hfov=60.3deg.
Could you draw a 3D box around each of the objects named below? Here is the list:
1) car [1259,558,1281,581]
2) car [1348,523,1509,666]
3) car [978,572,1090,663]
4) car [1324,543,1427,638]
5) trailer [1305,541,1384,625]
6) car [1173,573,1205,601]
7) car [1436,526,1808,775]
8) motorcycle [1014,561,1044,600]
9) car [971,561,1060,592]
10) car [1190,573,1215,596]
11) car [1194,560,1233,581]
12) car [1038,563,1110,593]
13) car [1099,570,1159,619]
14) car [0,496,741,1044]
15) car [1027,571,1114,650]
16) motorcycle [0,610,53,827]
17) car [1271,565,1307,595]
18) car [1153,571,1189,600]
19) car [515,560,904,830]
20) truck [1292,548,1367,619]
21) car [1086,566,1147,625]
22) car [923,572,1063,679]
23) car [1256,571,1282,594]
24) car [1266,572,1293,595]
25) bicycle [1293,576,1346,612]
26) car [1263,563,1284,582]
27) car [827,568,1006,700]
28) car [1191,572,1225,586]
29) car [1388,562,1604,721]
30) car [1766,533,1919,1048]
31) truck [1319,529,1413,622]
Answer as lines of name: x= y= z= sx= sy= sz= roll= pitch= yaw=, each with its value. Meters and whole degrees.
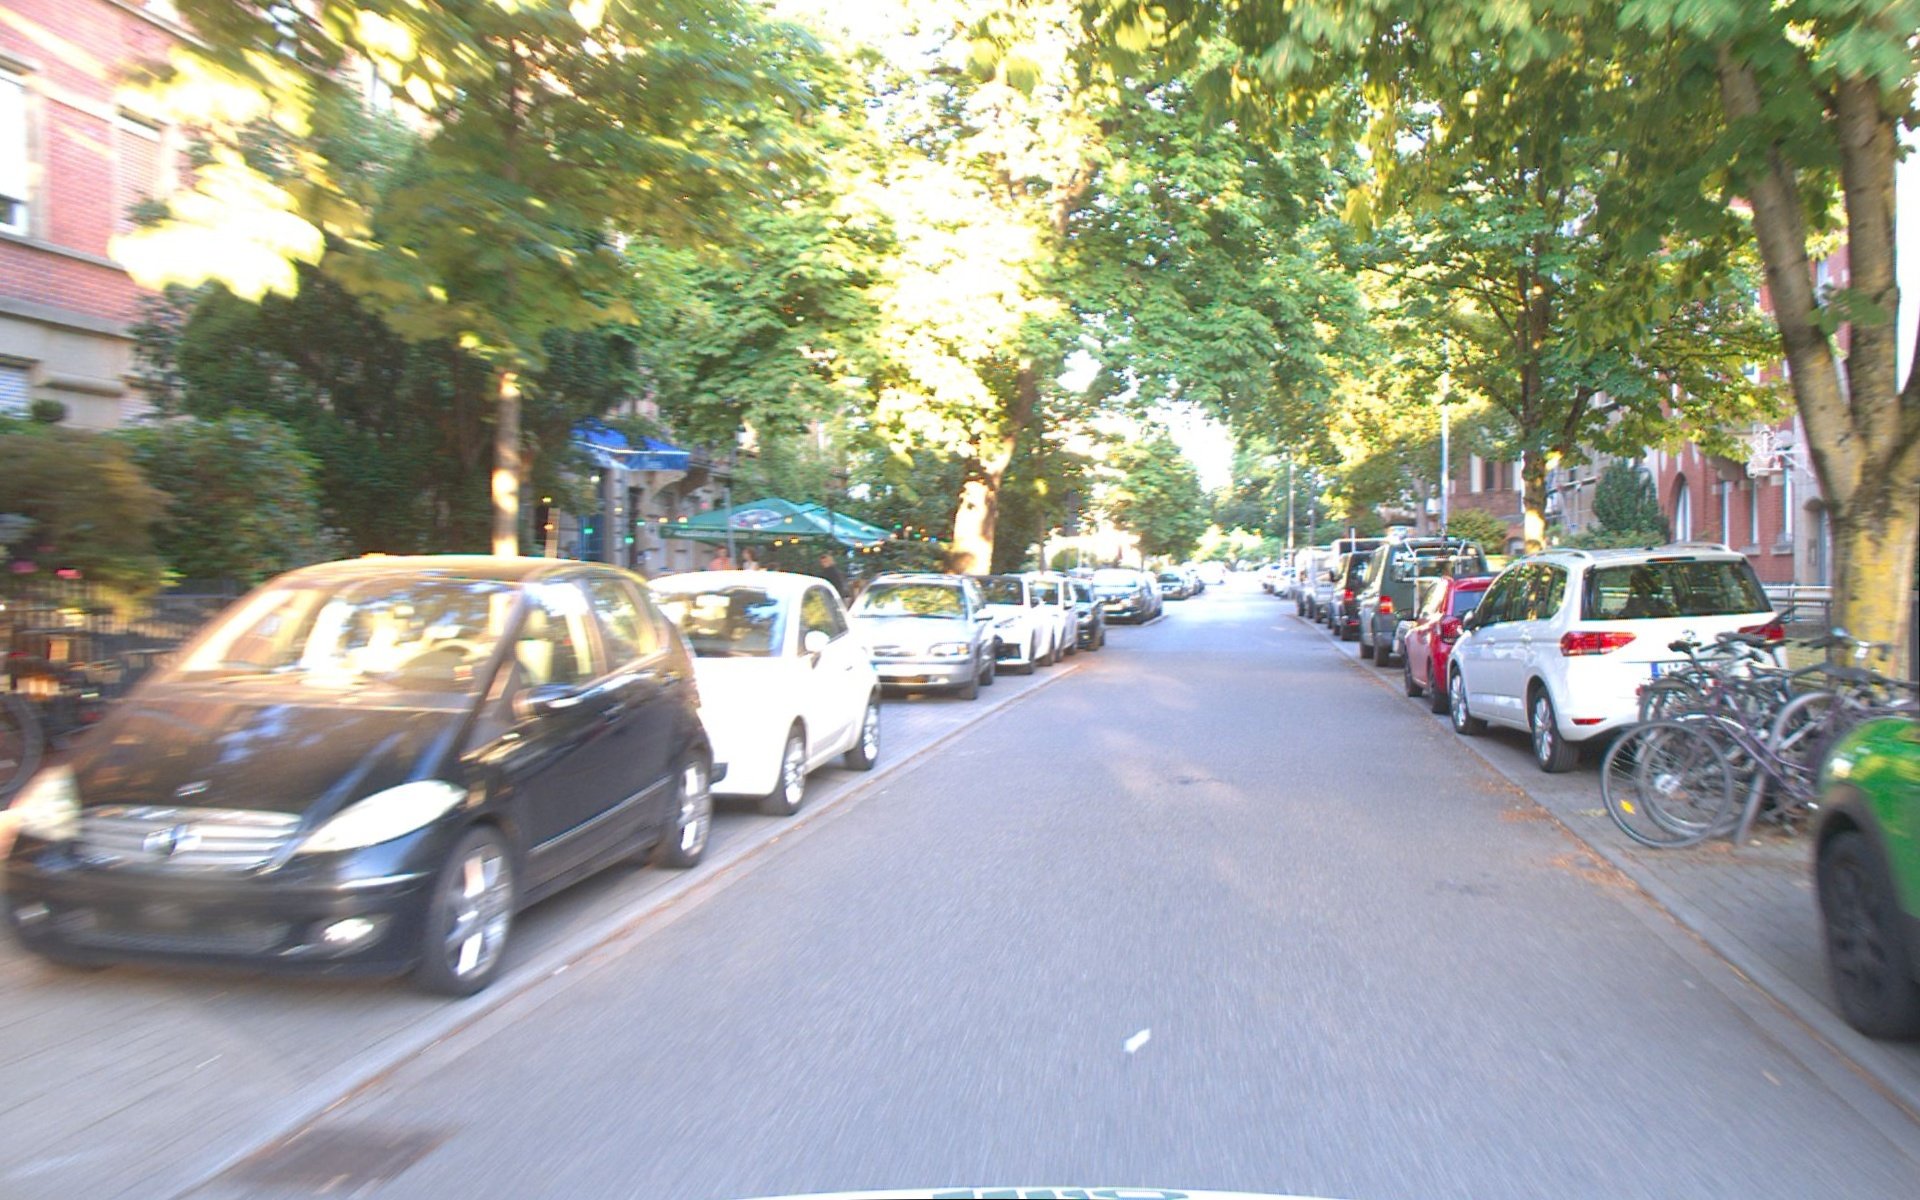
car: x=26.586 y=-2.620 z=141.865 sx=1.644 sy=1.975 sz=3.883 roll=0 pitch=0 yaw=7
car: x=7.732 y=-0.146 z=27.717 sx=1.912 sy=2.094 sz=4.835 roll=-3 pitch=1 yaw=9
car: x=1.433 y=0.269 z=30.788 sx=1.518 sy=1.511 sz=3.697 roll=3 pitch=2 yaw=10
car: x=9.562 y=-0.270 z=38.333 sx=1.800 sy=1.976 sz=4.618 roll=-3 pitch=1 yaw=9
trailer: x=11.547 y=-0.535 z=49.896 sx=1.912 sy=2.335 sz=4.649 roll=-3 pitch=1 yaw=9
car: x=14.528 y=-0.841 z=104.709 sx=1.880 sy=1.747 sz=4.432 roll=0 pitch=1 yaw=10
car: x=5.319 y=0.318 z=13.885 sx=1.629 sy=1.707 sz=4.122 roll=-3 pitch=1 yaw=4
motorcycle: x=2.286 y=-0.666 z=54.449 sx=0.570 sy=1.176 sz=2.895 roll=2 pitch=3 yaw=10
car: x=2.703 y=-1.153 z=80.364 sx=4.007 sy=1.472 sz=1.710 roll=1 pitch=2 yaw=19
car: x=17.314 y=-1.123 z=117.876 sx=1.679 sy=1.593 sz=3.791 roll=0 pitch=1 yaw=10
car: x=28.315 y=-3.334 z=185.016 sx=4.257 sy=2.358 sz=1.747 roll=0 pitch=1 yaw=8
car: x=6.727 y=-1.301 z=97.366 sx=4.006 sy=1.554 sz=1.711 roll=3 pitch=1 yaw=9
car: x=5.599 y=-0.192 z=54.330 sx=1.653 sy=1.528 sz=4.406 roll=1 pitch=0 yaw=10
car: x=-2.318 y=0.491 z=7.312 sx=1.629 sy=1.706 sz=3.850 roll=2 pitch=2 yaw=8
car: x=2.365 y=0.179 z=34.681 sx=1.518 sy=1.511 sz=3.697 roll=-1 pitch=1 yaw=8
motorcycle: x=-5.807 y=0.680 z=8.797 sx=0.383 sy=1.206 sz=1.957 roll=2 pitch=1 yaw=19
car: x=19.665 y=-1.212 z=99.073 sx=1.760 sy=1.741 sz=4.605 roll=-1 pitch=0 yaw=7
car: x=11.361 y=-0.782 z=88.873 sx=1.582 sy=1.496 sz=3.965 roll=0 pitch=1 yaw=12
car: x=-1.570 y=0.511 z=11.668 sx=1.629 sy=1.519 sz=3.714 roll=2 pitch=2 yaw=9
truck: x=12.636 y=-0.573 z=56.909 sx=1.935 sy=2.284 sz=6.782 roll=0 pitch=0 yaw=8
car: x=4.701 y=-0.185 z=49.503 sx=1.654 sy=1.590 sz=4.406 roll=2 pitch=2 yaw=6
car: x=0.596 y=0.335 z=25.985 sx=1.569 sy=1.460 sz=3.889 roll=3 pitch=2 yaw=10
car: x=22.762 y=-1.281 z=122.107 sx=1.651 sy=1.634 sz=3.943 roll=0 pitch=1 yaw=7
car: x=21.990 y=-1.129 z=113.933 sx=1.651 sy=1.466 sz=4.213 roll=-2 pitch=0 yaw=9
bicycle: x=13.555 y=-0.235 z=62.408 sx=1.862 sy=1.280 sz=0.407 roll=-3 pitch=0 yaw=4
car: x=26.129 y=-2.310 z=137.920 sx=1.506 sy=1.548 sz=3.434 roll=0 pitch=1 yaw=7
car: x=-0.428 y=0.342 z=20.890 sx=1.801 sy=1.436 sz=4.604 roll=0 pitch=1 yaw=4
car: x=27.347 y=-2.327 z=182.424 sx=3.542 sy=1.486 sz=1.608 roll=0 pitch=1 yaw=6
car: x=5.913 y=0.386 z=18.632 sx=1.629 sy=1.526 sz=3.697 roll=-3 pitch=1 yaw=8
car: x=3.669 y=0.578 z=4.254 sx=1.694 sy=1.584 sz=3.966 roll=-3 pitch=1 yaw=8
truck: x=10.857 y=-0.677 z=44.506 sx=1.912 sy=2.285 sz=4.649 roll=-3 pitch=1 yaw=8
